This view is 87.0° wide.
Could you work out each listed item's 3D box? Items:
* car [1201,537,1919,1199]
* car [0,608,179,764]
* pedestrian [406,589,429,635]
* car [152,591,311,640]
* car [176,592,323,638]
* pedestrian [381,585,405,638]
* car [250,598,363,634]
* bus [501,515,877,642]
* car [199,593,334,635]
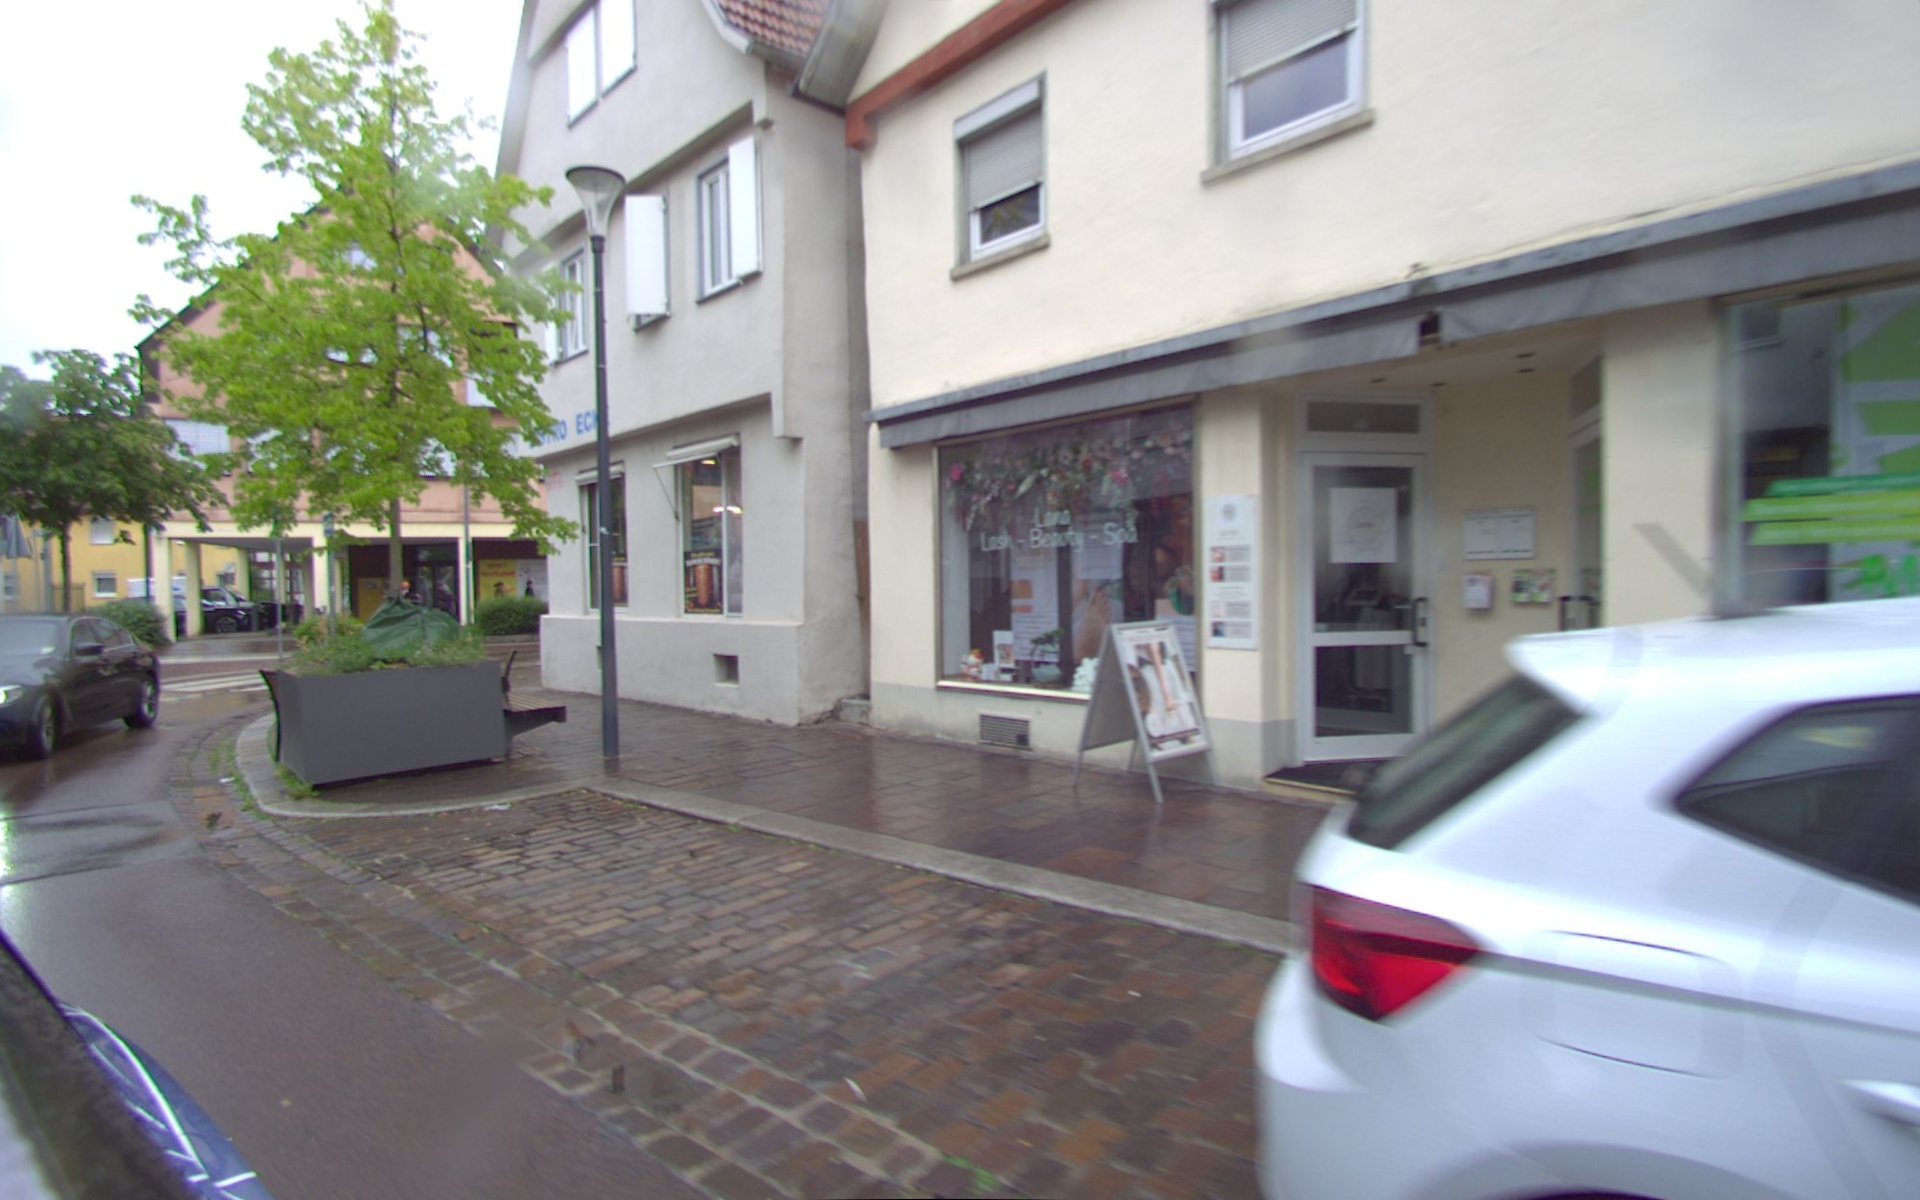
[{"bbox_3d":[2.436,0.612,1.249,3.807,1.433,1.676,-2,0,34],"label":"car"},{"bbox_3d":[-10.536,0.849,11.075,1.965,1.417,4.909,-2,0,-23],"label":"car"},{"bbox_3d":[-17.276,0.374,32.234,0.578,1.449,0.481,-1,0,-22],"label":"pedestrian"},{"bbox_3d":[-23.793,0.478,33.229,3.931,1.497,2.007,-1,0,-25],"label":"car"},{"bbox_3d":[-24.836,0.483,35.543,3.931,1.497,2.007,-1,0,-25],"label":"car"},{"bbox_3d":[-17.797,0.352,31.780,0.578,1.645,0.481,-1,0,-22],"label":"pedestrian"},{"bbox_3d":[-28.653,0.676,44.496,3.931,1.497,2.007,-1,0,-25],"label":"car"},{"bbox_3d":[-7.829,-0.619,30.278,10.511,3.325,2.688,-1,0,-30],"label":"bus"},{"bbox_3d":[-26.278,0.490,38.514,3.931,1.497,2.007,-1,0,-25],"label":"car"}]
